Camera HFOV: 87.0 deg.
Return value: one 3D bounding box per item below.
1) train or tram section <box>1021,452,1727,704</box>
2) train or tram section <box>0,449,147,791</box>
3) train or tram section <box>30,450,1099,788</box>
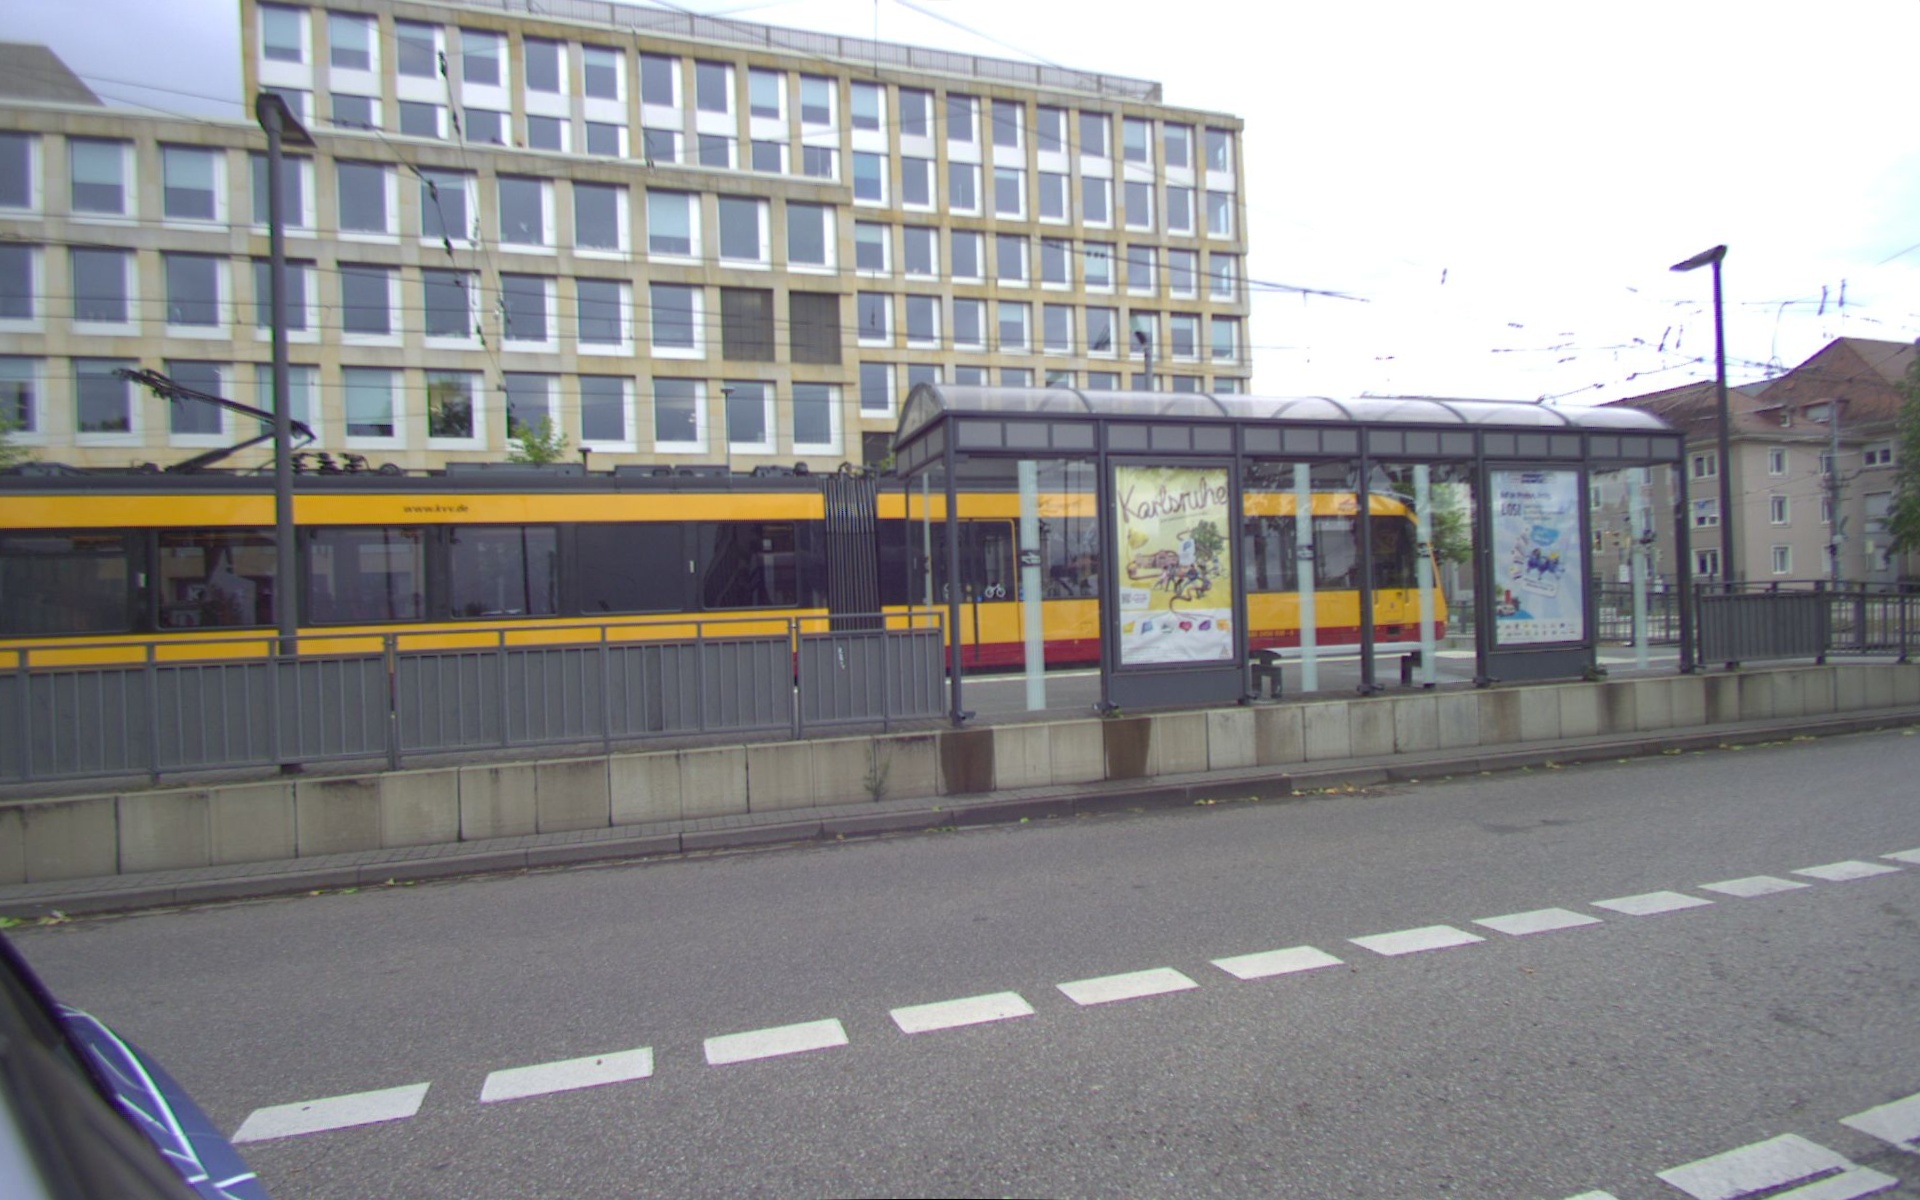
[{"bbox_3d":[8.668,-0.515,20.647,14.481,4.210,3.200,-2,-1,-18],"label":"train or tram section"},{"bbox_3d":[-18.971,0.464,11.885,14.481,4.210,3.200,-2,-1,-18],"label":"train or tram section"},{"bbox_3d":[-5.136,0.090,16.298,14.481,4.210,3.200,-2,-1,-18],"label":"train or tram section"}]
